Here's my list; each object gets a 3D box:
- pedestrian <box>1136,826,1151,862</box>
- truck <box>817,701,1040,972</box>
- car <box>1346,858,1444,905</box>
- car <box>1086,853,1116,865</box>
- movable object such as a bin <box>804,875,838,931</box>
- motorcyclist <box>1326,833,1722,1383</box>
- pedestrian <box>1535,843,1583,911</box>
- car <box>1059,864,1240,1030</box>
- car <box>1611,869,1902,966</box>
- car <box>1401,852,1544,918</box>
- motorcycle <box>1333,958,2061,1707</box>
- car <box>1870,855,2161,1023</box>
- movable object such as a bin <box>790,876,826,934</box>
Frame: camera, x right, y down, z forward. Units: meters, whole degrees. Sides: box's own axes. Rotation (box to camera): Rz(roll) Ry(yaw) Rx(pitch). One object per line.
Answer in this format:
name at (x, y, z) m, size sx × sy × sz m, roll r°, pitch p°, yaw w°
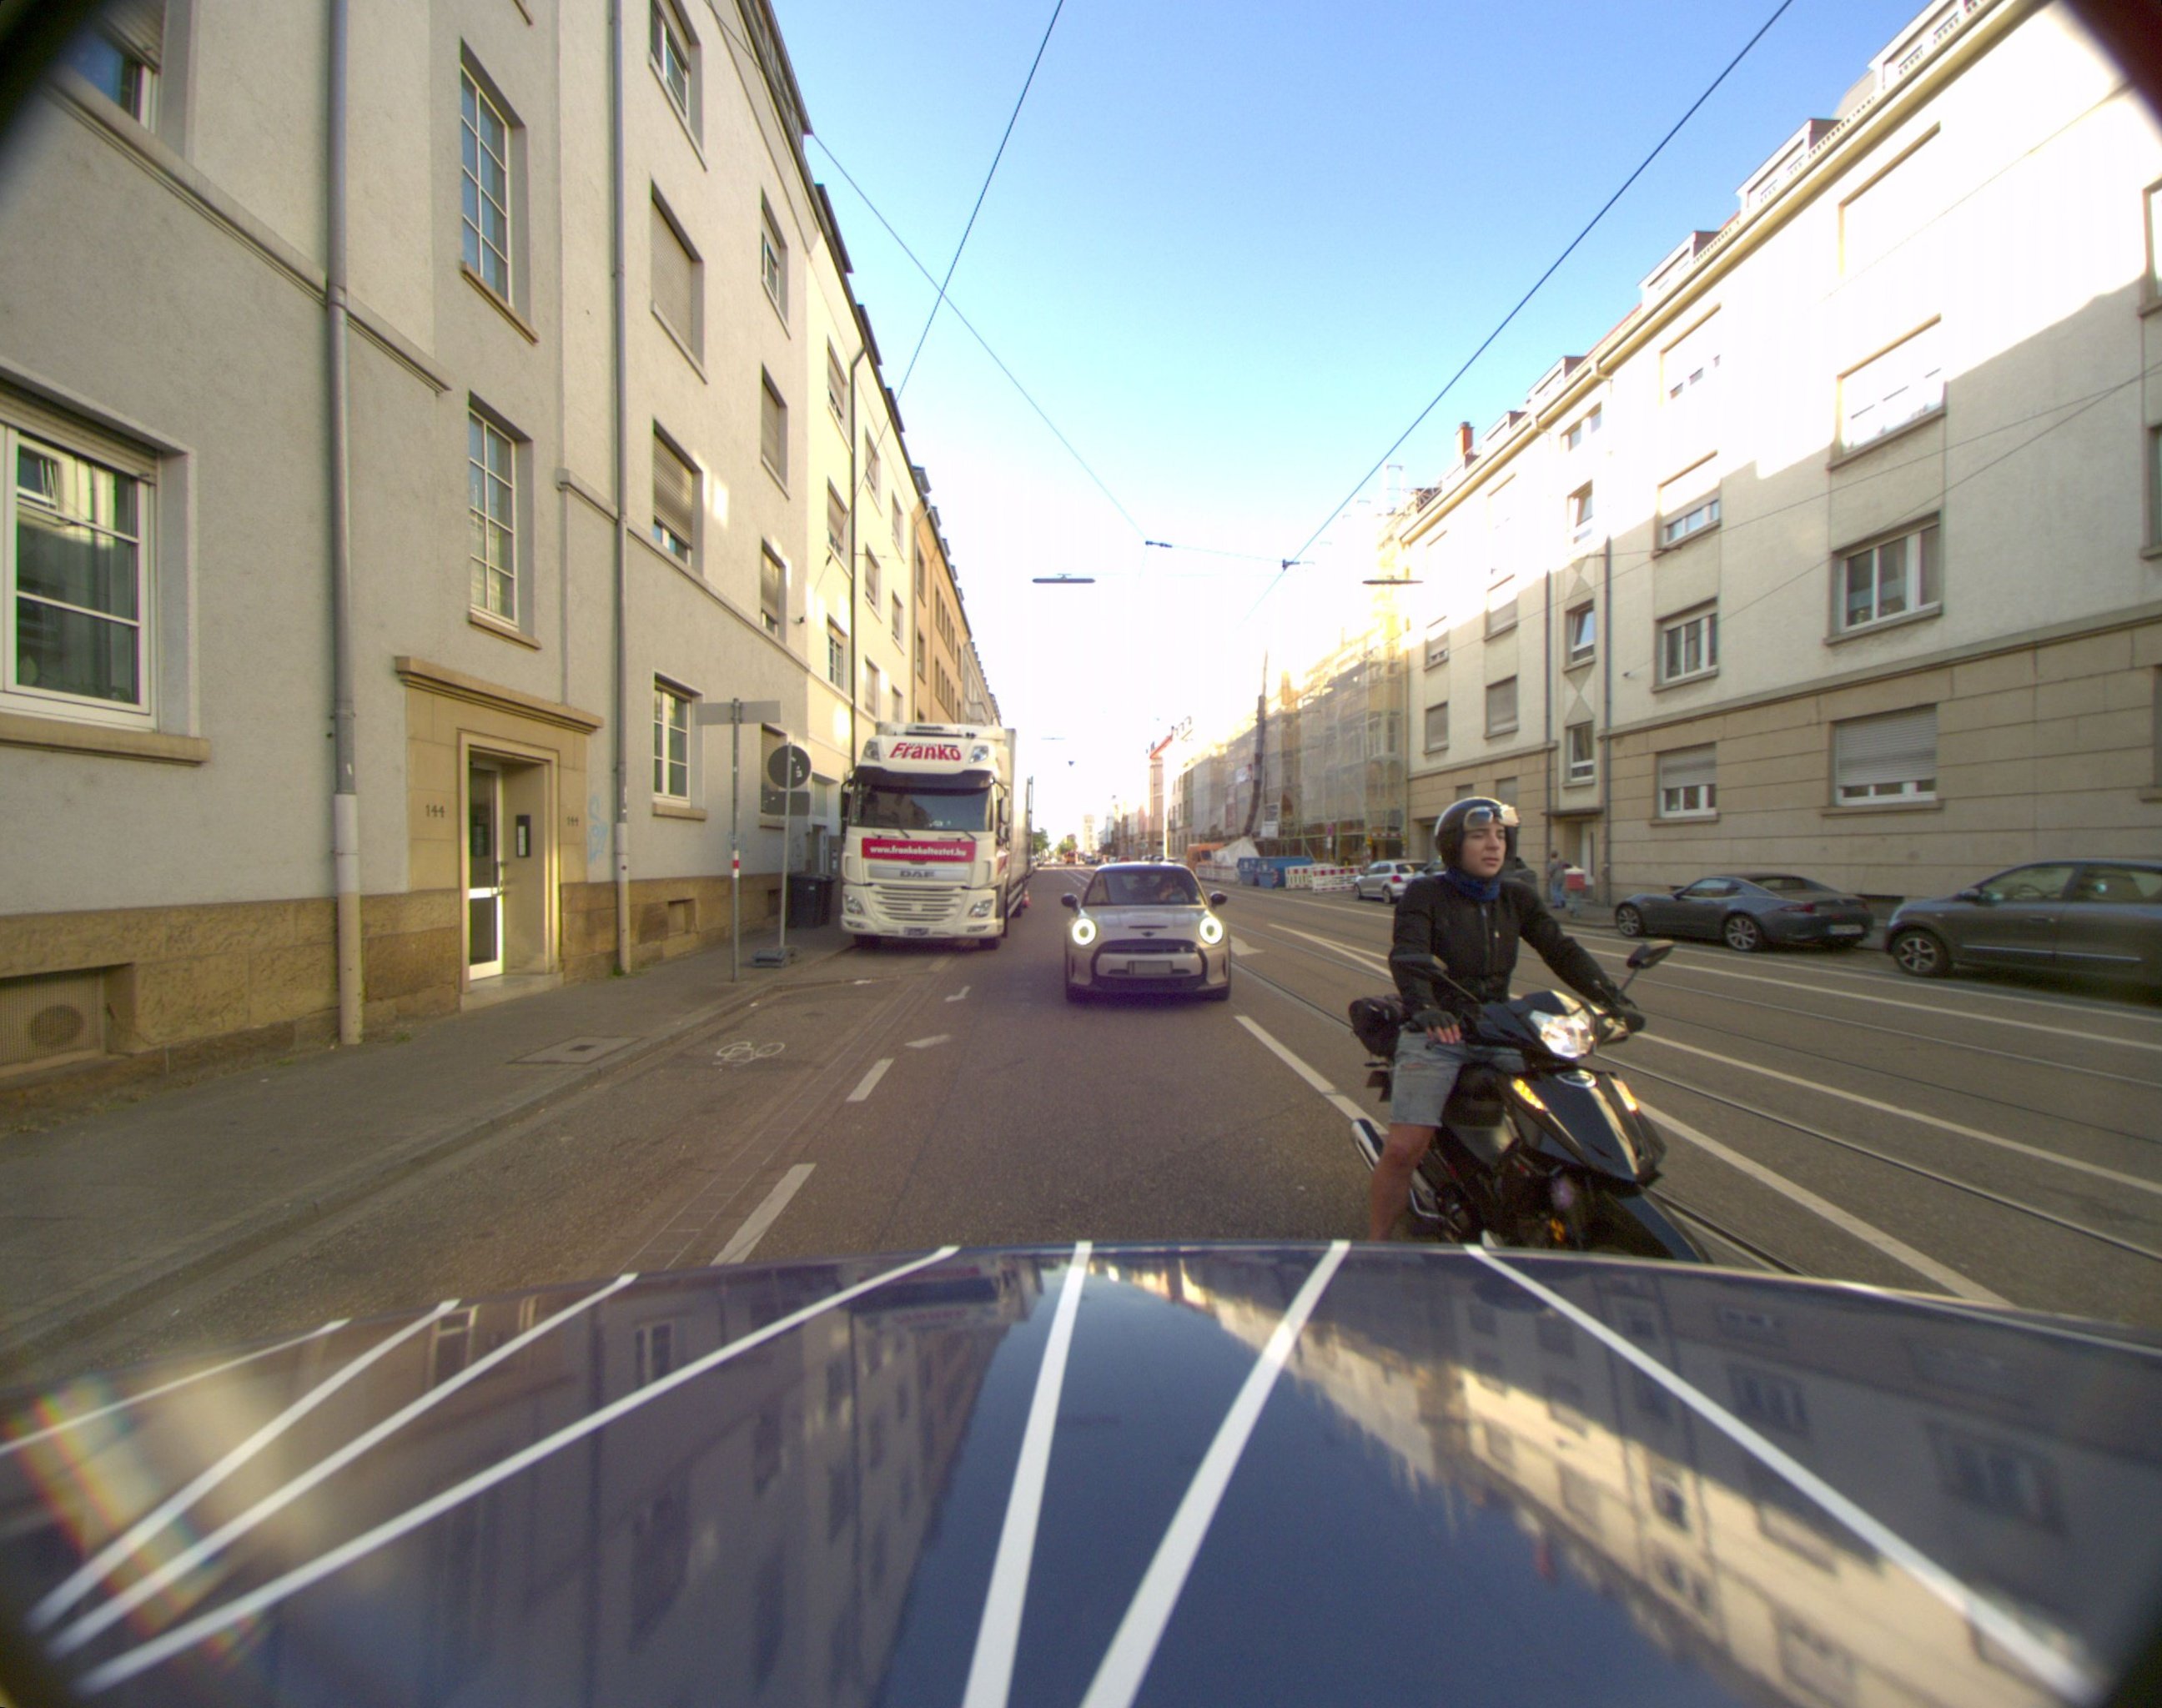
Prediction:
pedestrian at (7.765, -1.285, 94.307) m, size 1.723 × 4.377 × 1.153 m, roll -2°, pitch 1°, yaw 2°
truck at (-2.577, -0.252, 17.172) m, size 2.899 × 3.939 × 11.704 m, roll -2°, pitch 0°, yaw -2°
car at (10.578, 0.874, 25.842) m, size 1.637 × 1.383 × 3.643 m, roll -2°, pitch 1°, yaw -3°
car at (2.689, 0.727, 104.441) m, size 3.998 × 1.468 × 2.149 m, roll -2°, pitch 1°, yaw -2°
movable object such as a bin at (-5.342, 1.002, 15.648) m, size 0.512 × 1.085 × 0.495 m, roll -2°, pitch 1°, yaw -4°
motorcyclist at (1.318, 0.702, 2.388) m, size 0.862 × 1.496 × 0.598 m, roll -2°, pitch 1°, yaw 1°
pedestrian at (12.703, 0.598, 20.212) m, size 0.751 × 1.753 × 0.776 m, roll -2°, pitch 1°, yaw 1°
car at (0.639, 0.896, 9.096) m, size 1.692 × 1.495 × 4.000 m, roll 0°, pitch 0°, yaw 0°
car at (11.217, 0.965, 12.982) m, size 1.751 × 1.269 × 3.488 m, roll -2°, pitch 1°, yaw -4°
car at (10.809, 0.766, 21.317) m, size 1.712 × 1.582 × 4.112 m, roll -2°, pitch 1°, yaw -3°
motorcycle at (1.345, 1.068, 2.236) m, size 0.538 × 1.212 × 1.981 m, roll -2°, pitch 1°, yaw 1°
car at (11.391, 0.841, 8.383) m, size 1.670 × 1.563 × 3.496 m, roll -2°, pitch 1°, yaw -2°
movable object such as a bin at (-5.385, 1.003, 15.017) m, size 0.512 × 1.085 × 0.495 m, roll -2°, pitch 1°, yaw -4°
